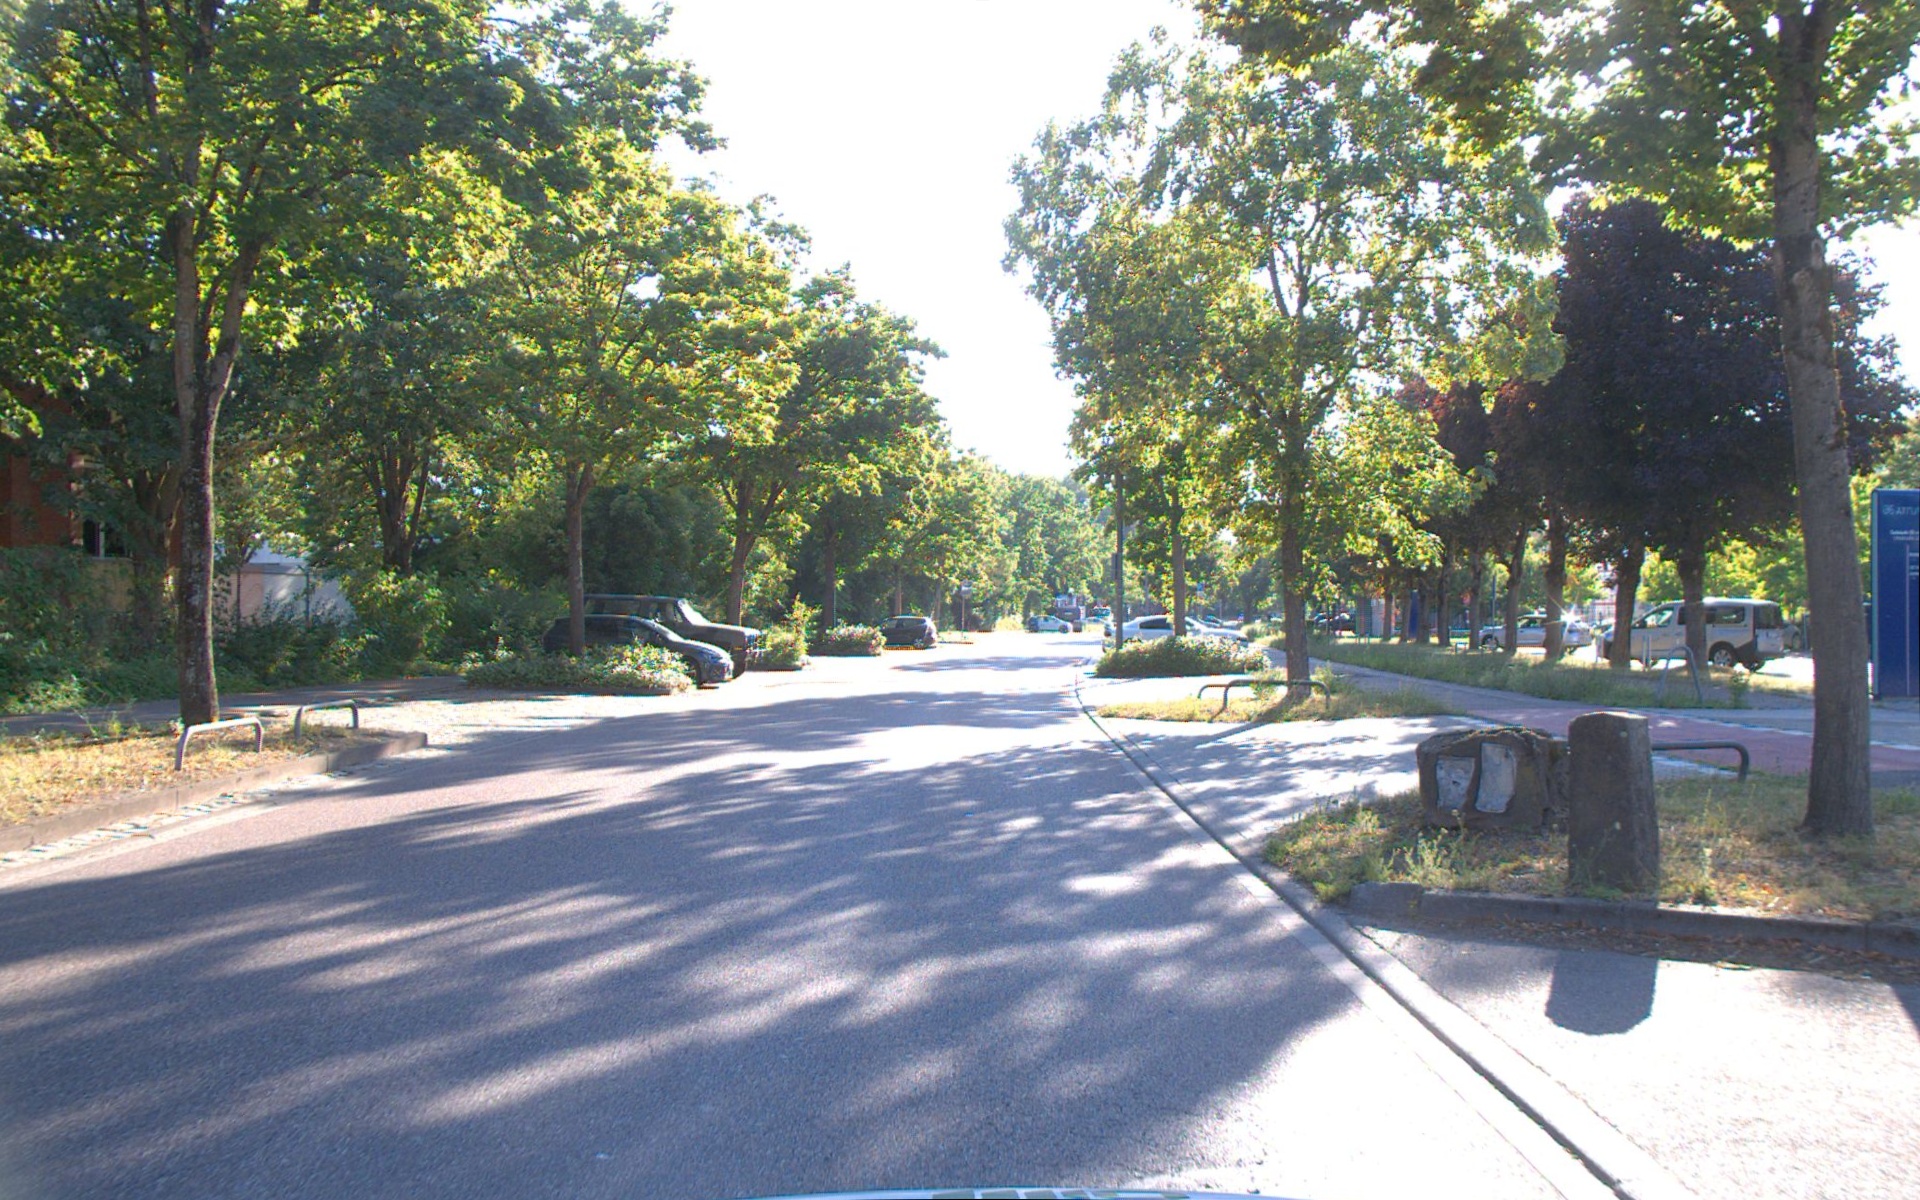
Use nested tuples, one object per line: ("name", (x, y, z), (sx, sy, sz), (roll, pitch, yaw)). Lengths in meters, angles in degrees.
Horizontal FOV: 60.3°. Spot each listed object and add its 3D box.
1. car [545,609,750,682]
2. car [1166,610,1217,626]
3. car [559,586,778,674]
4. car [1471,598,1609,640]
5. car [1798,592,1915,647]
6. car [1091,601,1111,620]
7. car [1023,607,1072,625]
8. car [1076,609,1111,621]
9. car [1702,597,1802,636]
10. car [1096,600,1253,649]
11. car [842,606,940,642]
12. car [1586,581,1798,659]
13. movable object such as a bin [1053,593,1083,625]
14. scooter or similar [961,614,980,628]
("car", (-6.799, 0.975, 36.260), (4.124, 1.557, 1.706), (0, 0, 2))
("car", (22.011, 1.740, 157.078), (4.738, 1.505, 2.002), (0, 0, 10))
("car", (-7.045, 0.718, 40.315), (4.900, 2.055, 2.175), (0, 0, 2))
("car", (23.220, 0.763, 66.362), (1.985, 1.601, 4.874), (0, -1, -44))
("car", (30.341, 0.624, 55.937), (4.445, 1.780, 1.745), (0, 0, -36))
("car", (17.999, 1.387, 211.372), (2.464, 2.428, 4.374), (0, 0, 2))
("car", (7.929, 1.427, 149.872), (4.265, 1.574, 2.002), (0, 0, 10))
("car", (16.312, 1.808, 202.172), (4.267, 1.505, 2.001), (0, 0, 3))
("car", (32.133, 0.659, 67.064), (4.250, 1.554, 1.747), (0, -1, -33))
("car", (7.136, 0.809, 55.487), (5.066, 1.601, 2.159), (0, 0, 3))
("car", (-3.196, 1.123, 77.101), (4.266, 1.505, 2.001), (2, 0, 6))
("car", (19.614, 0.487, 44.509), (1.979, 1.967, 4.889), (0, 1, -37))
("movable object such as a bin", (10.600, 0.862, 161.989), (2.778, 3.122, 4.929), (0, -1, 5))
("scooter or similar", (0.870, 1.753, 135.999), (1.570, 1.165, 0.568), (1, -1, -42))
